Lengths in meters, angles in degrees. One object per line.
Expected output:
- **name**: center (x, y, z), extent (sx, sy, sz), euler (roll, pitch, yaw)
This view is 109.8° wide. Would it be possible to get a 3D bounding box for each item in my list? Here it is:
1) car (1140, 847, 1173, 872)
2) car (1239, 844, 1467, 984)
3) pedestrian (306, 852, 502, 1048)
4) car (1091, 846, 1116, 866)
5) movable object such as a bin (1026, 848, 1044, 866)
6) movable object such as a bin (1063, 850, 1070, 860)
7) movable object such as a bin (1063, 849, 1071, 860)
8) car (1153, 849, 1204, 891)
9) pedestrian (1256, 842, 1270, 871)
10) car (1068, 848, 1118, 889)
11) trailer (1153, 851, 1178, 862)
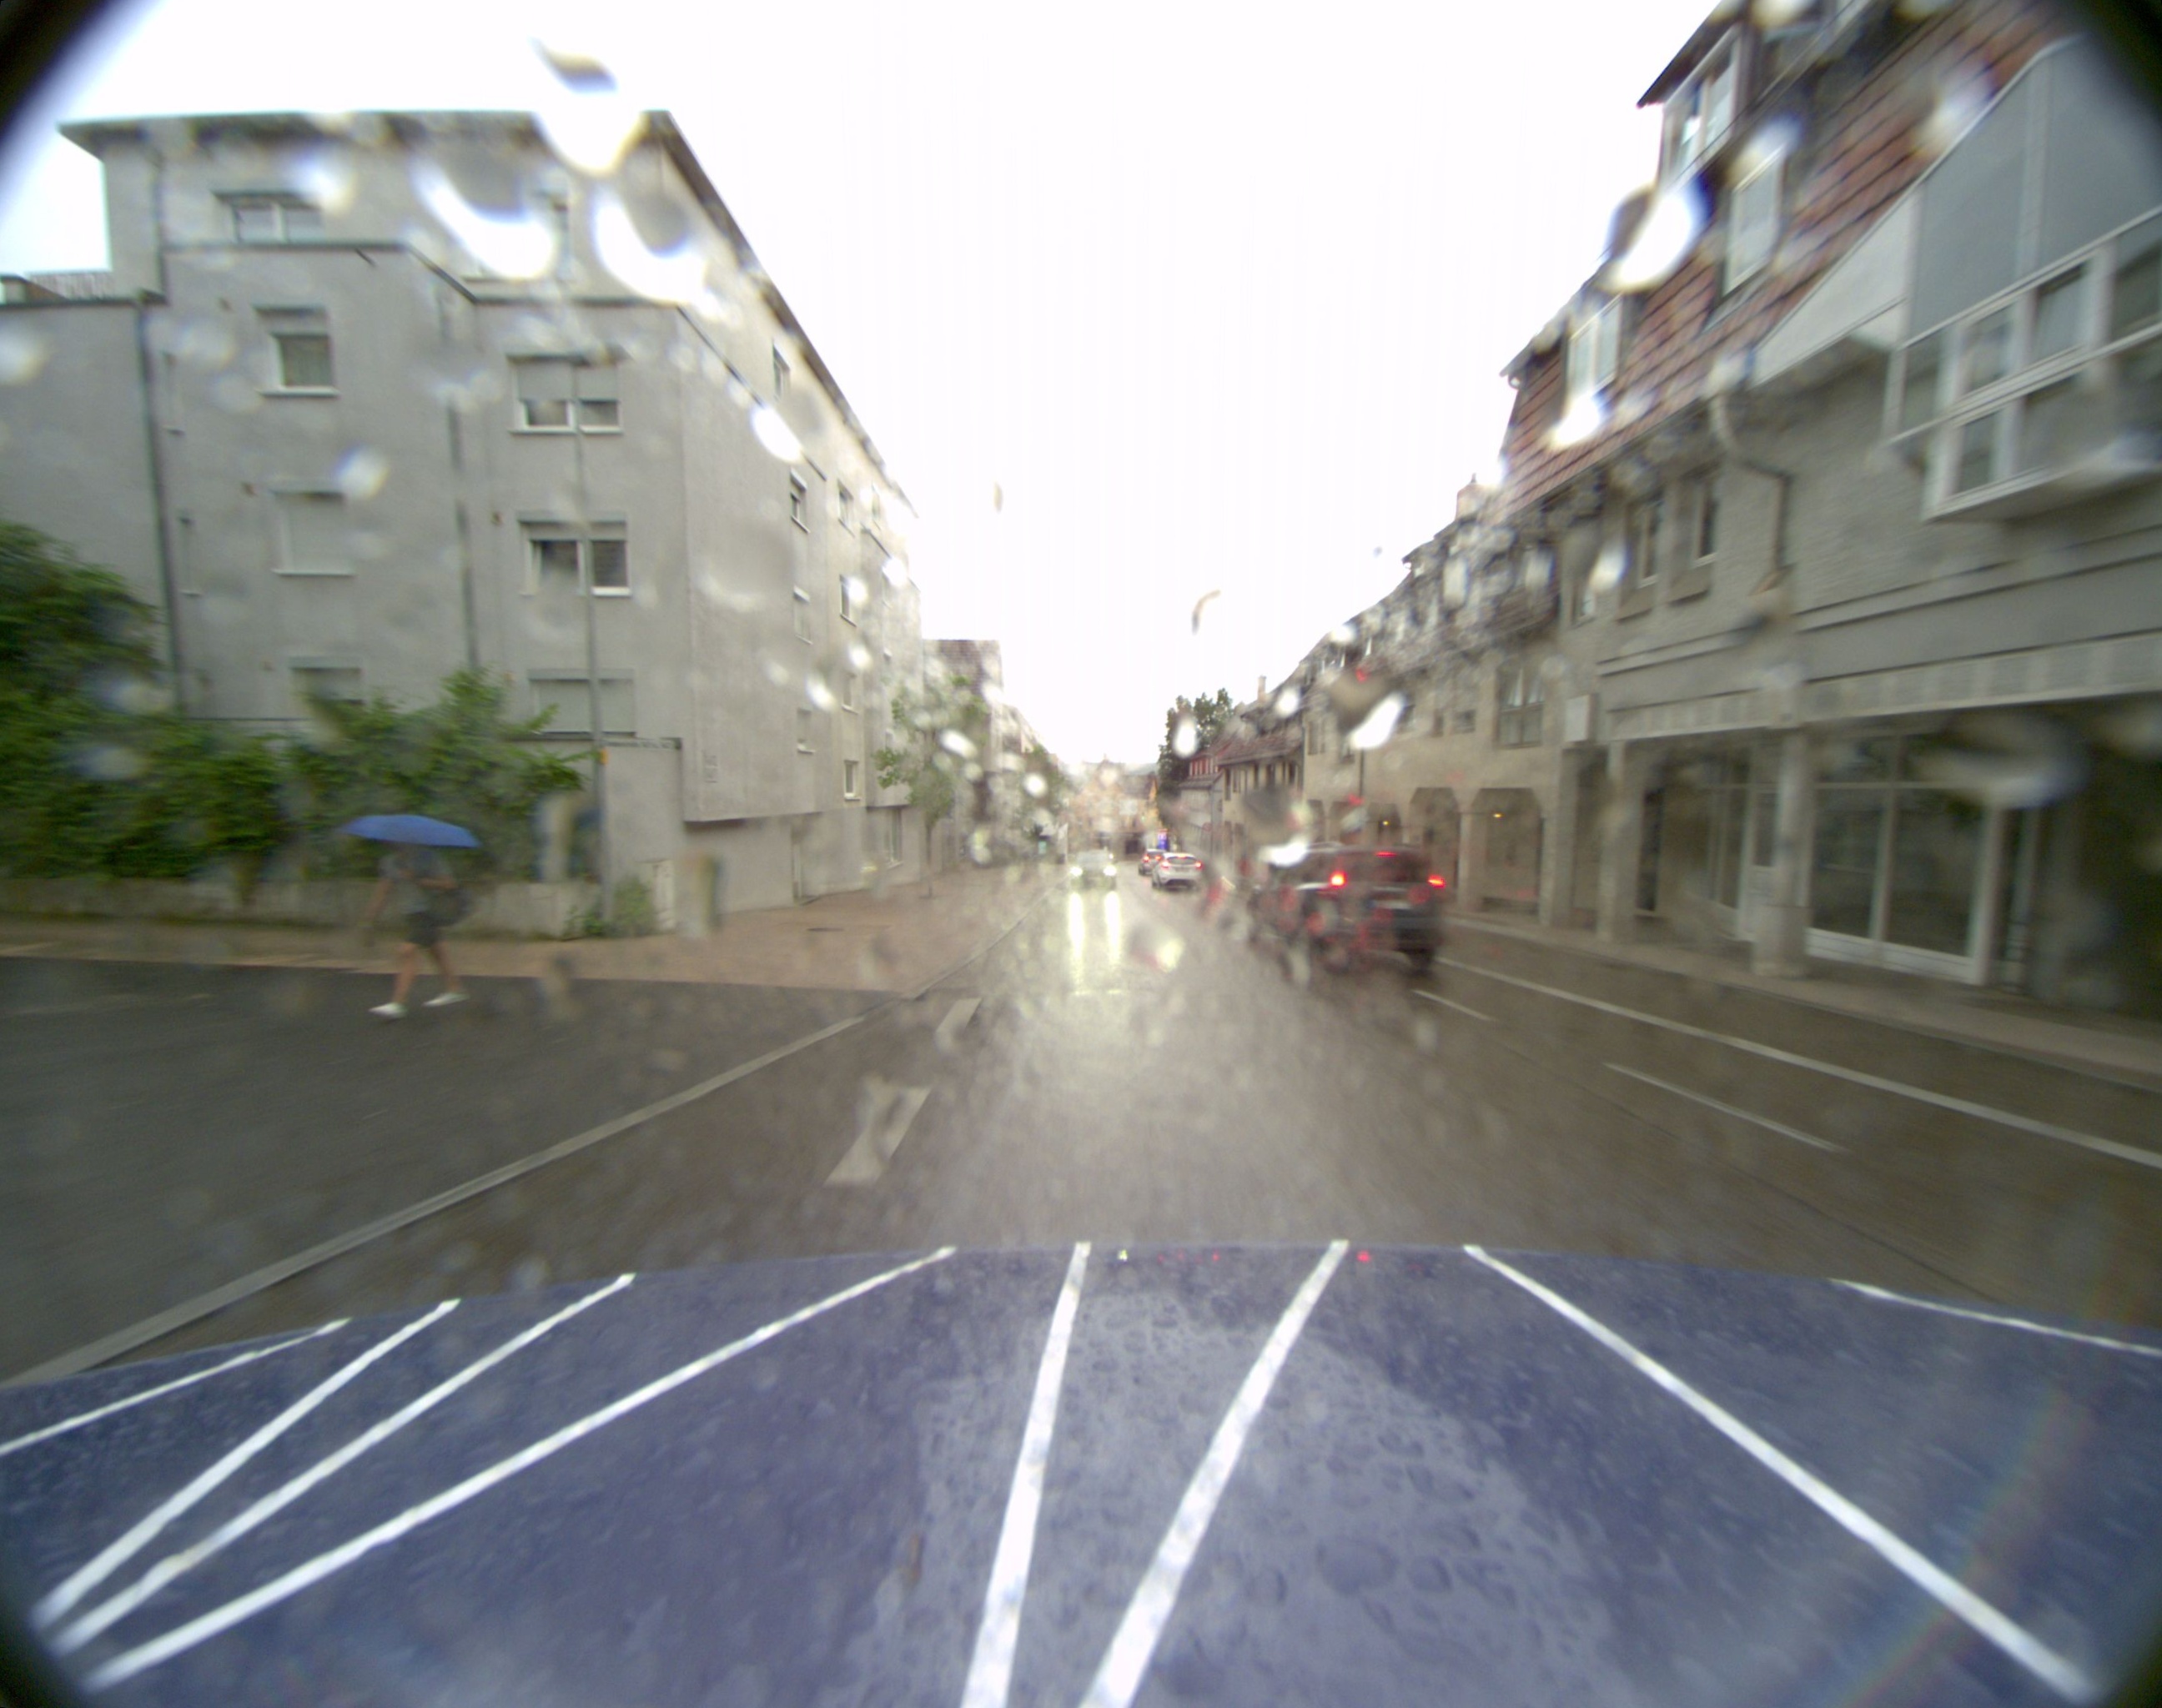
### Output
- **car**: center (4.656, 0.311, 47.287), extent (1.681, 1.501, 3.588), euler (0, 1, 0)
- **car**: center (3.780, 0.698, 11.504), extent (1.787, 1.684, 4.458), euler (0, 1, -1)
- **pedestrian**: center (-5.866, 0.776, 6.653), extent (0.737, 1.533, 1.038), euler (3, 2, 4)
- **car**: center (1.836, 0.175, 61.794), extent (1.967, 1.598, 4.384), euler (0, 0, 2)
- **movable object such as a bin**: center (-3.451, 0.232, 57.152), extent (1.237, 1.327, 1.172), euler (1, 1, 3)
- **movable object such as a bin**: center (-1.458, 0.078, 75.161), extent (0.596, 1.022, 0.476), euler (2, 1, 3)
- **movable object such as a bin**: center (-1.346, 0.031, 74.291), extent (0.571, 1.022, 0.467), euler (1, 2, -39)
- **car**: center (3.842, 0.592, 30.400), extent (1.681, 1.501, 3.588), euler (0, 1, 2)
- **pedestrian**: center (11.211, 0.162, 46.798), extent (0.689, 1.730, 0.735), euler (-2, 1, 4)
- **car**: center (0.543, 0.533, 31.921), extent (1.967, 1.549, 4.622), euler (0, 1, 2)
- **trailer**: center (7.771, 0.205, 70.358), extent (1.998, 0.900, 4.477), euler (-2, 1, 3)
